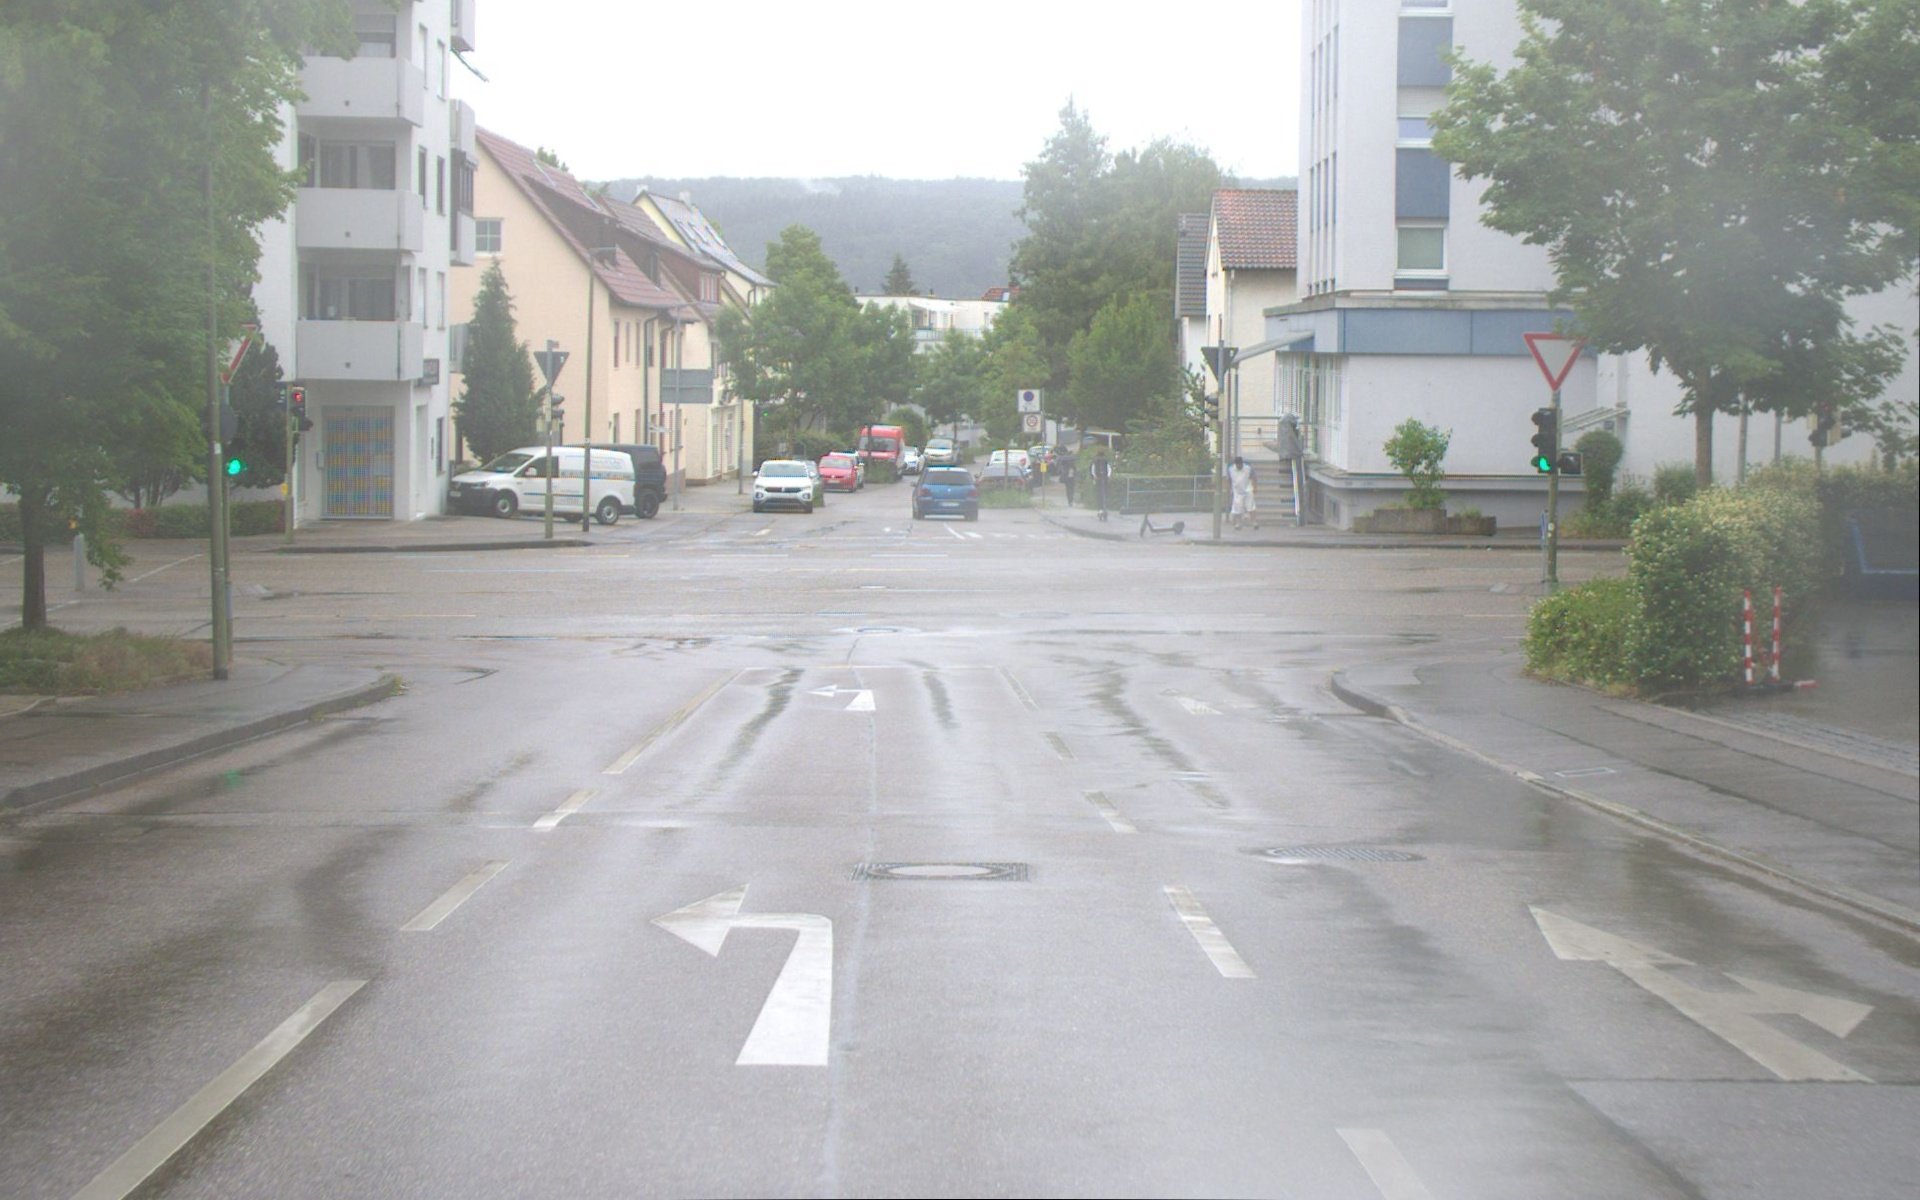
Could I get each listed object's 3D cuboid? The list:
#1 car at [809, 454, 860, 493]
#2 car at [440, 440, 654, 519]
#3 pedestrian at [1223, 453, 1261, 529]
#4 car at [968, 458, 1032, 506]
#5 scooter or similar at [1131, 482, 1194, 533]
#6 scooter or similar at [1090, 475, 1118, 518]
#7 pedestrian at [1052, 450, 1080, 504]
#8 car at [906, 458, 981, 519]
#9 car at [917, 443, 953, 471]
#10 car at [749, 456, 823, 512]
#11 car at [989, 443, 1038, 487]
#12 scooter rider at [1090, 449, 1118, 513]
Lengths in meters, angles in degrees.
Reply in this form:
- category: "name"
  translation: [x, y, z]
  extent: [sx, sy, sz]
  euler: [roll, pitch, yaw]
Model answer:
- category: "car"
  translation: [-5.127, -5.191, 140.568]
  extent: [1.901, 1.553, 4.192]
  euler: [-1, 2, 0]
- category: "car"
  translation: [-10.053, -2.958, 83.874]
  extent: [4.830, 1.829, 2.000]
  euler: [-3, 3, -38]
- category: "pedestrian"
  translation: [6.232, -2.419, 75.963]
  extent: [0.647, 1.641, 0.526]
  euler: [3, 2, -6]
- category: "car"
  translation: [1.361, -4.045, 117.831]
  extent: [2.146, 1.583, 4.128]
  euler: [-1, 2, 0]
- category: "scooter or similar"
  translation: [4.400, -2.024, 74.797]
  extent: [1.268, 1.077, 0.877]
  euler: [-1, 2, -4]
- category: "scooter or similar"
  translation: [4.031, -2.900, 96.376]
  extent: [0.757, 1.167, 1.314]
  euler: [-1, 2, 2]
- category: "pedestrian"
  translation: [3.637, -4.232, 118.291]
  extent: [0.745, 1.842, 0.526]
  euler: [3, 2, -16]
- category: "car"
  translation: [-0.492, -3.179, 97.473]
  extent: [1.993, 1.678, 4.001]
  euler: [-1, 3, -2]
- category: "car"
  translation: [-1.375, -7.938, 190.752]
  extent: [1.901, 1.553, 4.192]
  euler: [-1, 2, 0]
- category: "car"
  translation: [-5.248, -3.533, 104.133]
  extent: [1.993, 1.620, 4.192]
  euler: [-1, 2, 0]
- category: "car"
  translation: [2.157, -5.477, 139.769]
  extent: [1.901, 1.739, 4.192]
  euler: [-1, 2, 0]
- category: "scooter rider"
  translation: [4.031, -3.337, 96.316]
  extent: [0.752, 1.789, 0.673]
  euler: [-1, 2, 2]
